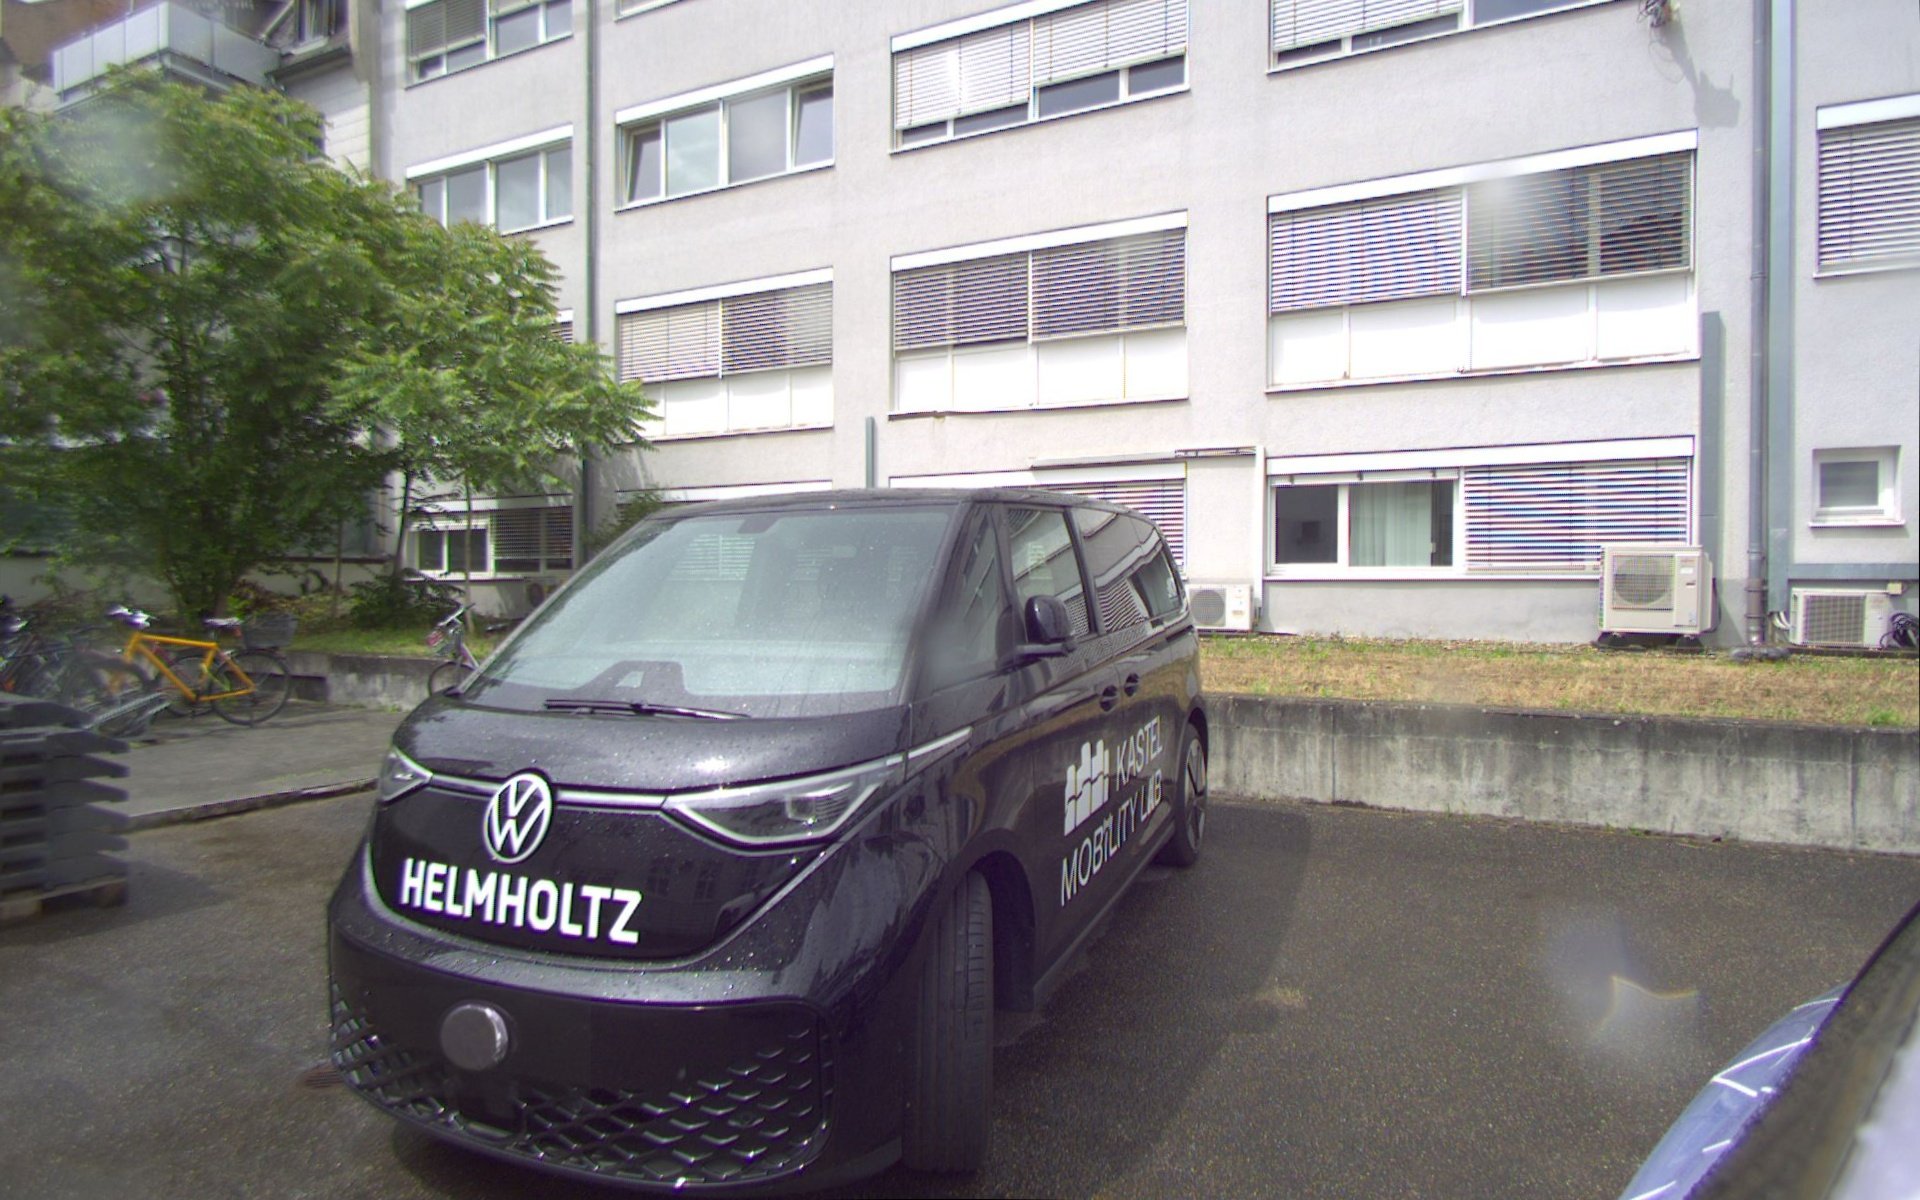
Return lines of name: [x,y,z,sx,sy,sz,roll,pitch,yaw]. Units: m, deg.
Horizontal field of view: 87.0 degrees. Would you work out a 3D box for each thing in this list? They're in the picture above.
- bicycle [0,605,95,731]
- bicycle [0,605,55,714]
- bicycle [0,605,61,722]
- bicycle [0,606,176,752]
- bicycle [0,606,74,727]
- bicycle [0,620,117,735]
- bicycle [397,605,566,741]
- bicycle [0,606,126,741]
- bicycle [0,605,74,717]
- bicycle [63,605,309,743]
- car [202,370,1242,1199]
bicycle: [-8.900,0.626,9.088,0.329,1.118,1.741,1,1,24]
bicycle: [-10.275,0.621,10.188,0.338,1.118,1.741,1,1,24]
bicycle: [-9.612,0.624,9.520,0.342,1.118,1.741,1,1,24]
bicycle: [-7.520,0.626,8.236,0.402,1.118,1.776,1,1,32]
bicycle: [-9.219,0.627,9.226,0.339,1.118,1.741,1,1,24]
bicycle: [-8.589,0.694,8.952,0.326,0.979,1.781,1,1,25]
bicycle: [-4.433,0.631,9.337,1.780,1.117,0.442,1,3,29]
bicycle: [-8.240,0.627,8.590,0.352,1.118,1.776,1,1,32]
bicycle: [-9.937,0.621,10.033,0.351,1.118,1.741,1,1,24]
bicycle: [-7.017,0.618,9.281,0.364,1.118,1.776,1,1,32]
car: [-0.122,0.462,4.374,1.949,1.888,4.711,0,2,24]
